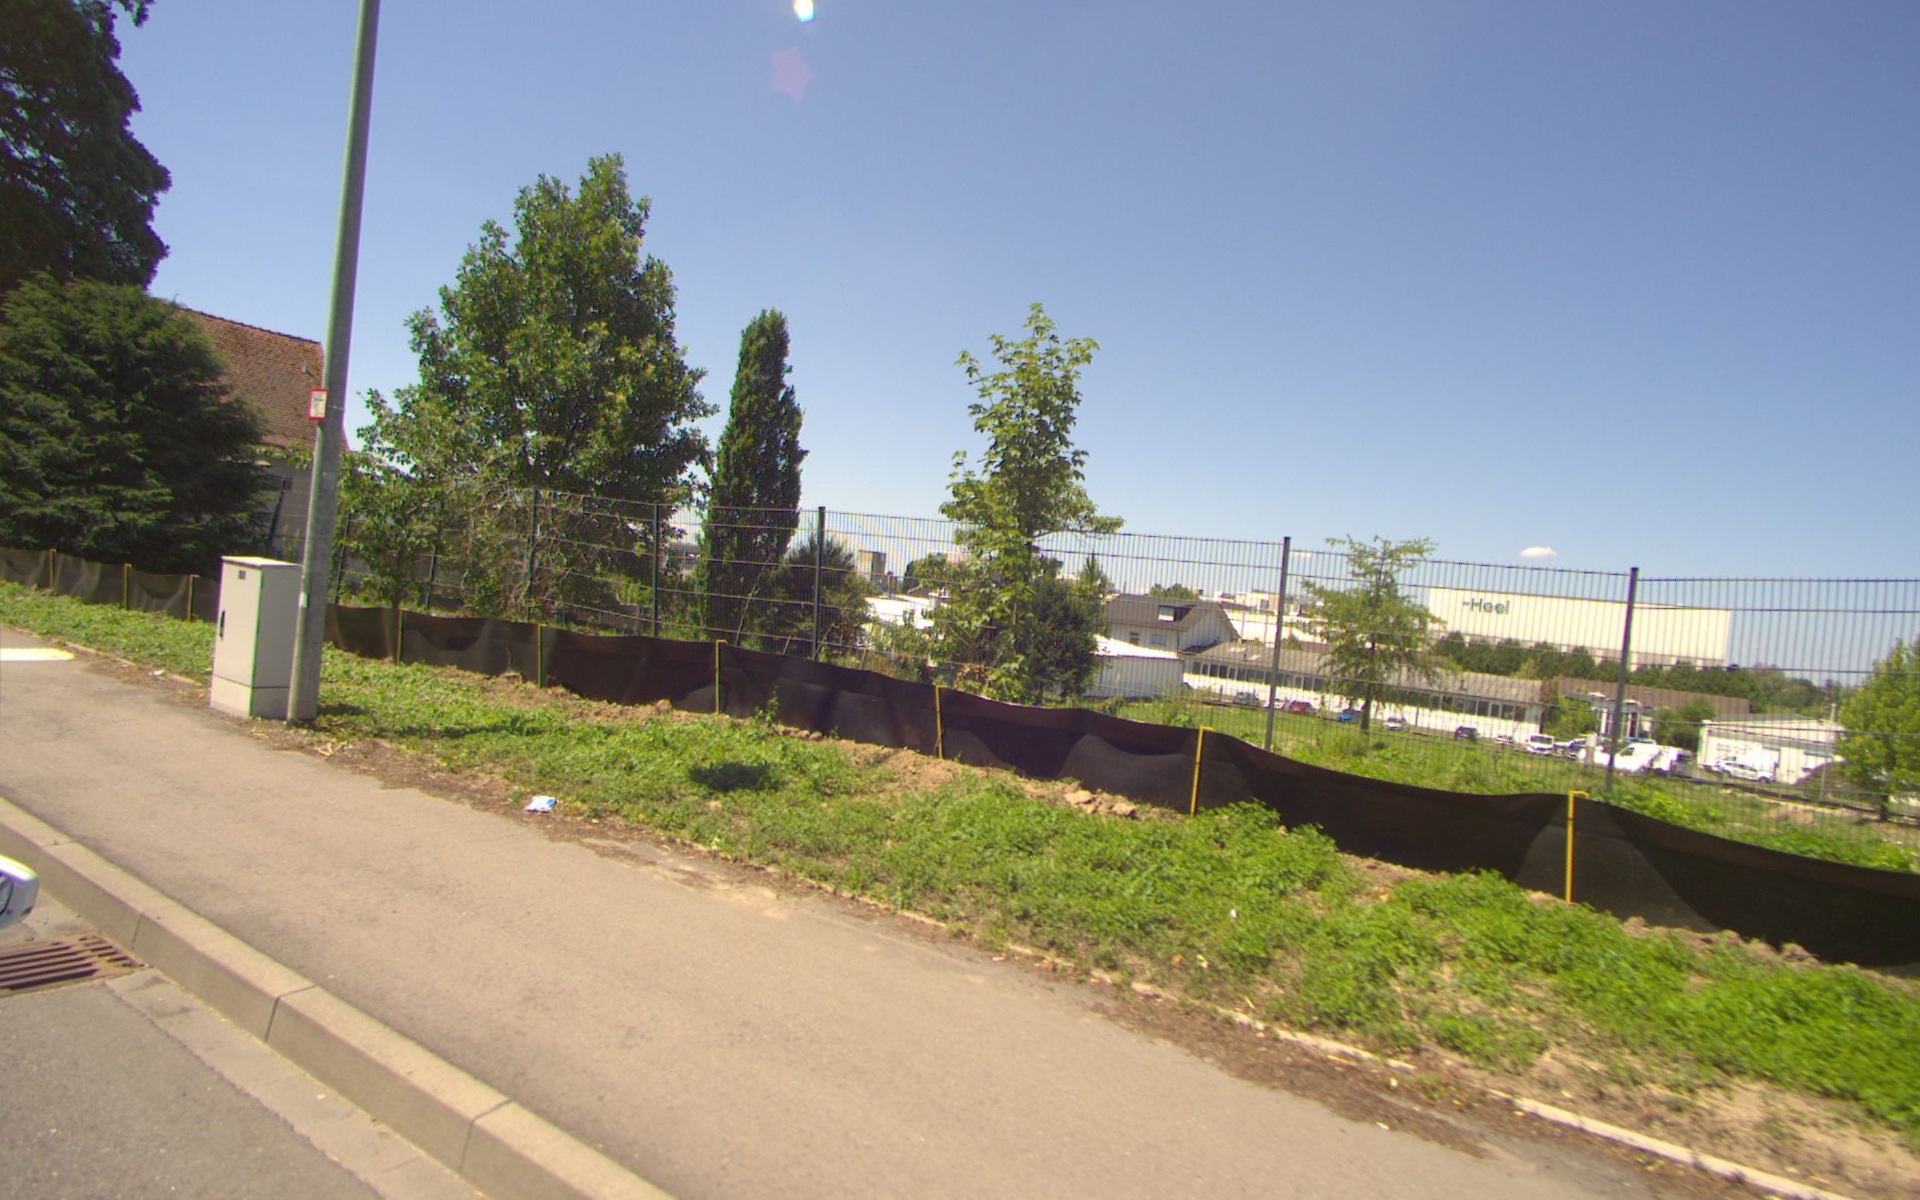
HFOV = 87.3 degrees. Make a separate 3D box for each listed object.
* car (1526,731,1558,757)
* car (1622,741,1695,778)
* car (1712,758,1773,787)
[{"bbox_3d":[48.978,12.096,84.682,1.968,1.759,3.992,7,-1,33],"label":"car"},{"bbox_3d":[55.660,12.692,80.272,1.850,2.037,4.318,8,-1,-23],"label":"car"},{"bbox_3d":[67.462,14.835,86.797,3.785,1.640,1.934,7,-1,32],"label":"car"}]
